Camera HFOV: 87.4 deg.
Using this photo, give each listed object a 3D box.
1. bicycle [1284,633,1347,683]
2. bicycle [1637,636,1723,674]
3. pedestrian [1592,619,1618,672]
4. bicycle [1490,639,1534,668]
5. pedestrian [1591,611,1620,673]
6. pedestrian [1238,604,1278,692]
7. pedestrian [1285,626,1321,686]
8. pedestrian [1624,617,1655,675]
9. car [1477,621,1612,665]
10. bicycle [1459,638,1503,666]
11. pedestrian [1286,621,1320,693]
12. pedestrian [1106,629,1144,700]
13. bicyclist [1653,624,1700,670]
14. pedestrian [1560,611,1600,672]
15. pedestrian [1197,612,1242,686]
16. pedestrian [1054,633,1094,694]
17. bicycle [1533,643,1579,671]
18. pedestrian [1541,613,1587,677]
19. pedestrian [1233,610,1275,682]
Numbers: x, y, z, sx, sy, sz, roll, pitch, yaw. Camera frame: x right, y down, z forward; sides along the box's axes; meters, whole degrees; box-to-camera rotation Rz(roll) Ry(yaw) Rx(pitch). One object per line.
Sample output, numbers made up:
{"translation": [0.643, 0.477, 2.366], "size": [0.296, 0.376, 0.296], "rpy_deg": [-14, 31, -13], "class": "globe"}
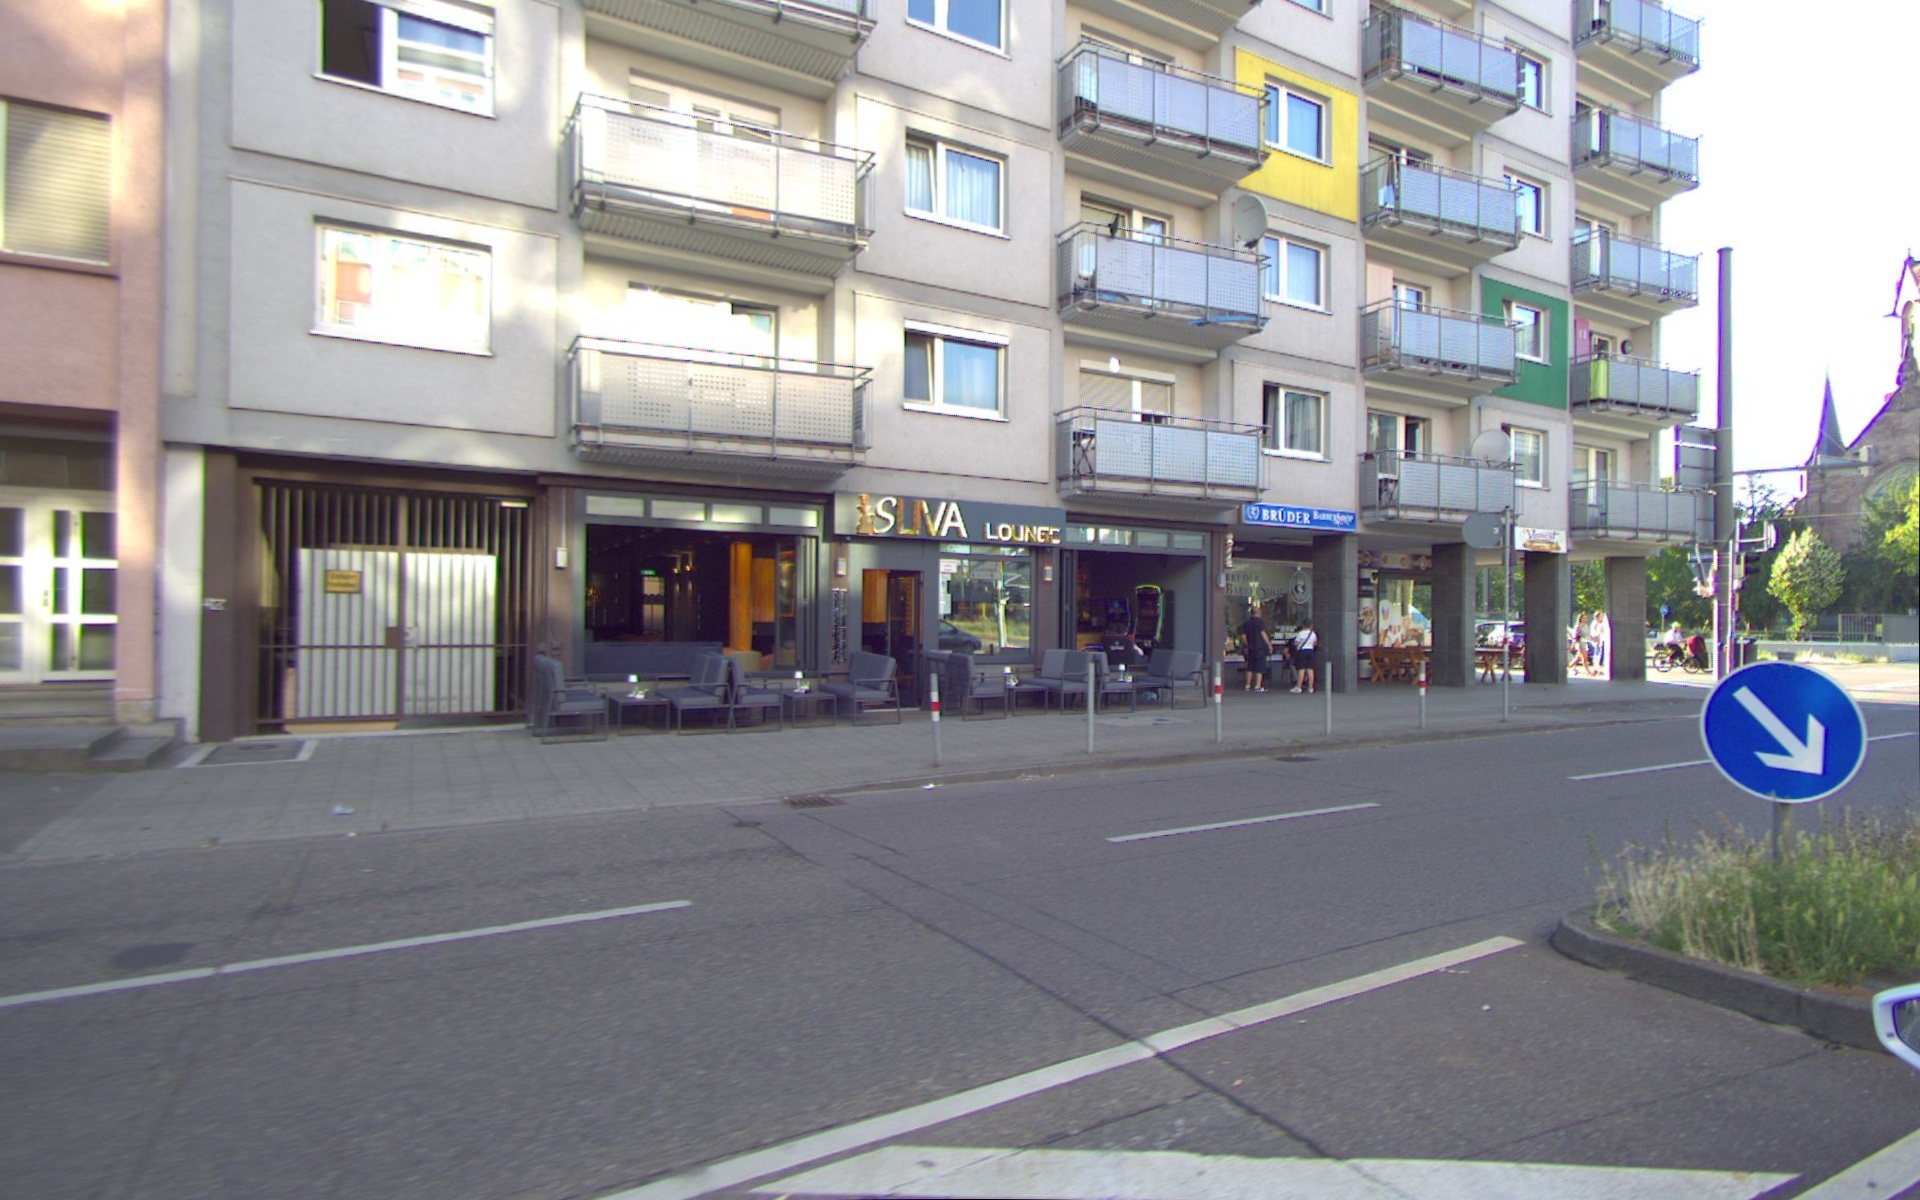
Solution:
{"translation": [8.042, 1.301, 22.713], "size": [1.440, 1.095, 0.584], "rpy_deg": [2, -1, -32], "class": "bicycle"}
{"translation": [23.701, 1.794, 33.099], "size": [1.148, 1.183, 2.033], "rpy_deg": [1, -1, -30], "class": "bicycle"}
{"translation": [19.382, 1.361, 30.185], "size": [0.569, 1.551, 0.466], "rpy_deg": [1, -1, -30], "class": "pedestrian"}
{"translation": [18.218, 1.748, 33.144], "size": [1.683, 0.919, 0.494], "rpy_deg": [1, -1, -30], "class": "bicycle"}
{"translation": [18.923, 1.225, 29.438], "size": [0.463, 1.792, 0.550], "rpy_deg": [1, -1, -27], "class": "pedestrian"}
{"translation": [5.949, 0.952, 20.081], "size": [0.764, 1.723, 0.561], "rpy_deg": [0, -1, 15], "class": "pedestrian"}
{"translation": [7.366, 1.188, 21.580], "size": [0.521, 1.256, 0.556], "rpy_deg": [0, -1, -14], "class": "pedestrian"}
{"translation": [19.732, 1.328, 29.173], "size": [0.566, 1.663, 0.469], "rpy_deg": [0, -1, -9], "class": "pedestrian"}
{"translation": [23.167, 1.663, 39.996], "size": [1.812, 1.594, 4.387], "rpy_deg": [1, -1, -27], "class": "car"}
{"translation": [17.678, 1.750, 34.083], "size": [1.683, 0.919, 0.494], "rpy_deg": [1, -1, -30], "class": "bicycle"}
{"translation": [6.800, 1.118, 19.914], "size": [0.472, 1.402, 0.484], "rpy_deg": [0, -1, -9], "class": "pedestrian"}
{"translation": [2.920, 1.121, 17.759], "size": [0.513, 1.219, 0.552], "rpy_deg": [0, -1, 29], "class": "pedestrian"}
{"translation": [23.654, 1.540, 33.175], "size": [1.148, 1.506, 0.875], "rpy_deg": [1, -1, -31], "class": "bicyclist"}
{"translation": [17.738, 1.174, 28.746], "size": [0.664, 1.731, 0.752], "rpy_deg": [1, -1, -20], "class": "pedestrian"}
{"translation": [5.681, 1.059, 21.989], "size": [0.778, 1.599, 0.559], "rpy_deg": [1, -1, -29], "class": "pedestrian"}
{"translation": [2.118, 1.165, 18.649], "size": [0.544, 1.094, 0.521], "rpy_deg": [0, -1, 39], "class": "pedestrian"}
{"translation": [18.973, 1.803, 31.961], "size": [1.683, 0.851, 0.494], "rpy_deg": [1, -1, -30], "class": "bicycle"}
{"translation": [17.113, 1.256, 28.466], "size": [0.664, 1.781, 0.921], "rpy_deg": [1, -1, -20], "class": "pedestrian"}
{"translation": [6.625, 1.019, 22.636], "size": [0.779, 1.599, 0.557], "rpy_deg": [1, -1, -35], "class": "pedestrian"}
